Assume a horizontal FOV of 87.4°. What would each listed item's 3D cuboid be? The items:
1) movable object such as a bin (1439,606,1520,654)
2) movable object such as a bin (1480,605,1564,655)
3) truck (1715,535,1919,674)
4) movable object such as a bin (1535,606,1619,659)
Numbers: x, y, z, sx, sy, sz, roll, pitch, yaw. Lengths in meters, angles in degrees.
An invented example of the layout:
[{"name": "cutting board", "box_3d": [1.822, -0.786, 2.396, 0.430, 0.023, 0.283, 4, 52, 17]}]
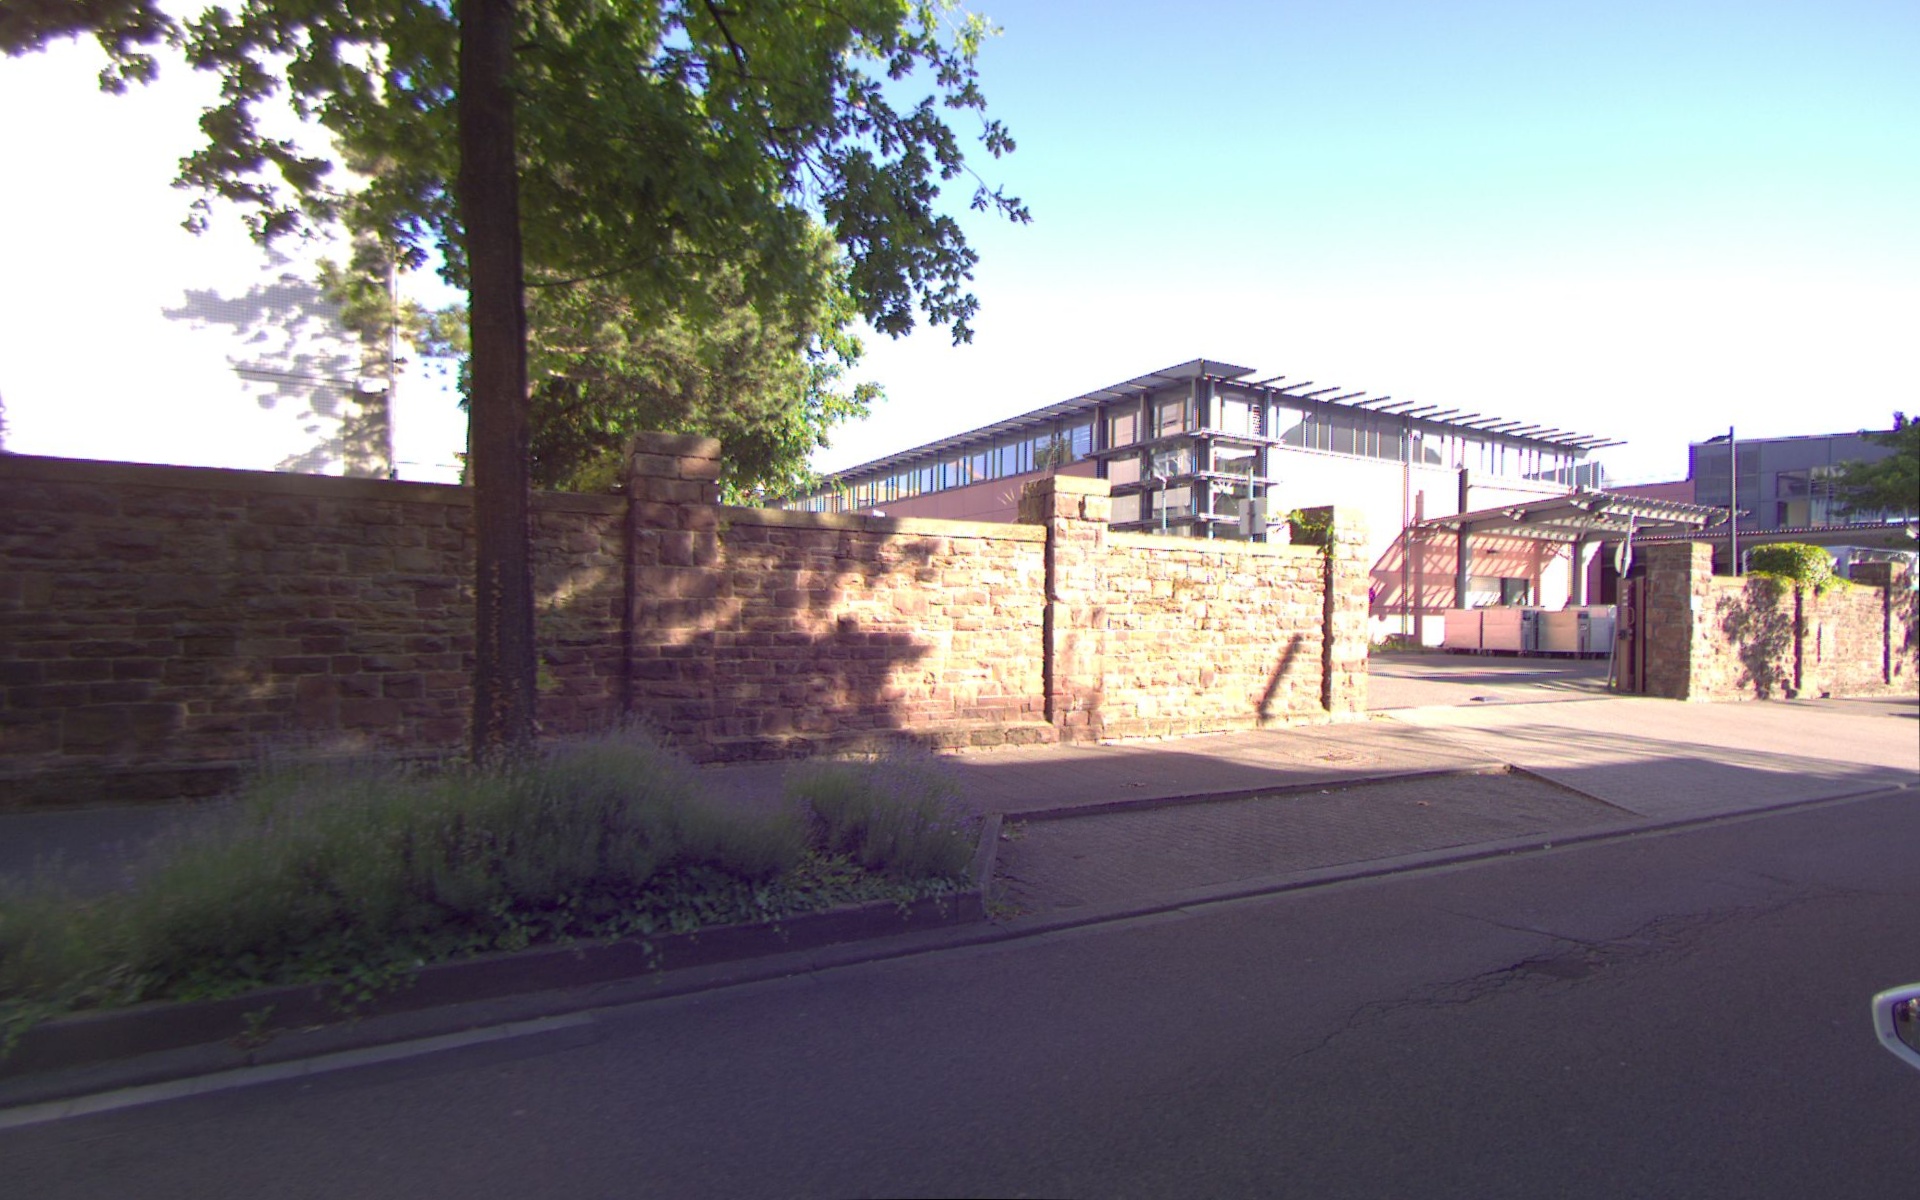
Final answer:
[{"name": "movable object such as a bin", "box_3d": [17.967, 1.025, 34.733, 2.526, 1.559, 1.400, 1, 1, -32]}, {"name": "movable object such as a bin", "box_3d": [18.744, 0.984, 33.483, 2.526, 1.559, 1.400, 1, 1, -32]}, {"name": "truck", "box_3d": [26.048, 0.171, 30.165, 7.341, 3.761, 2.719, 1, 1, -30]}, {"name": "movable object such as a bin", "box_3d": [20.016, 1.034, 32.575, 2.526, 1.619, 1.318, 1, 1, -32]}]
